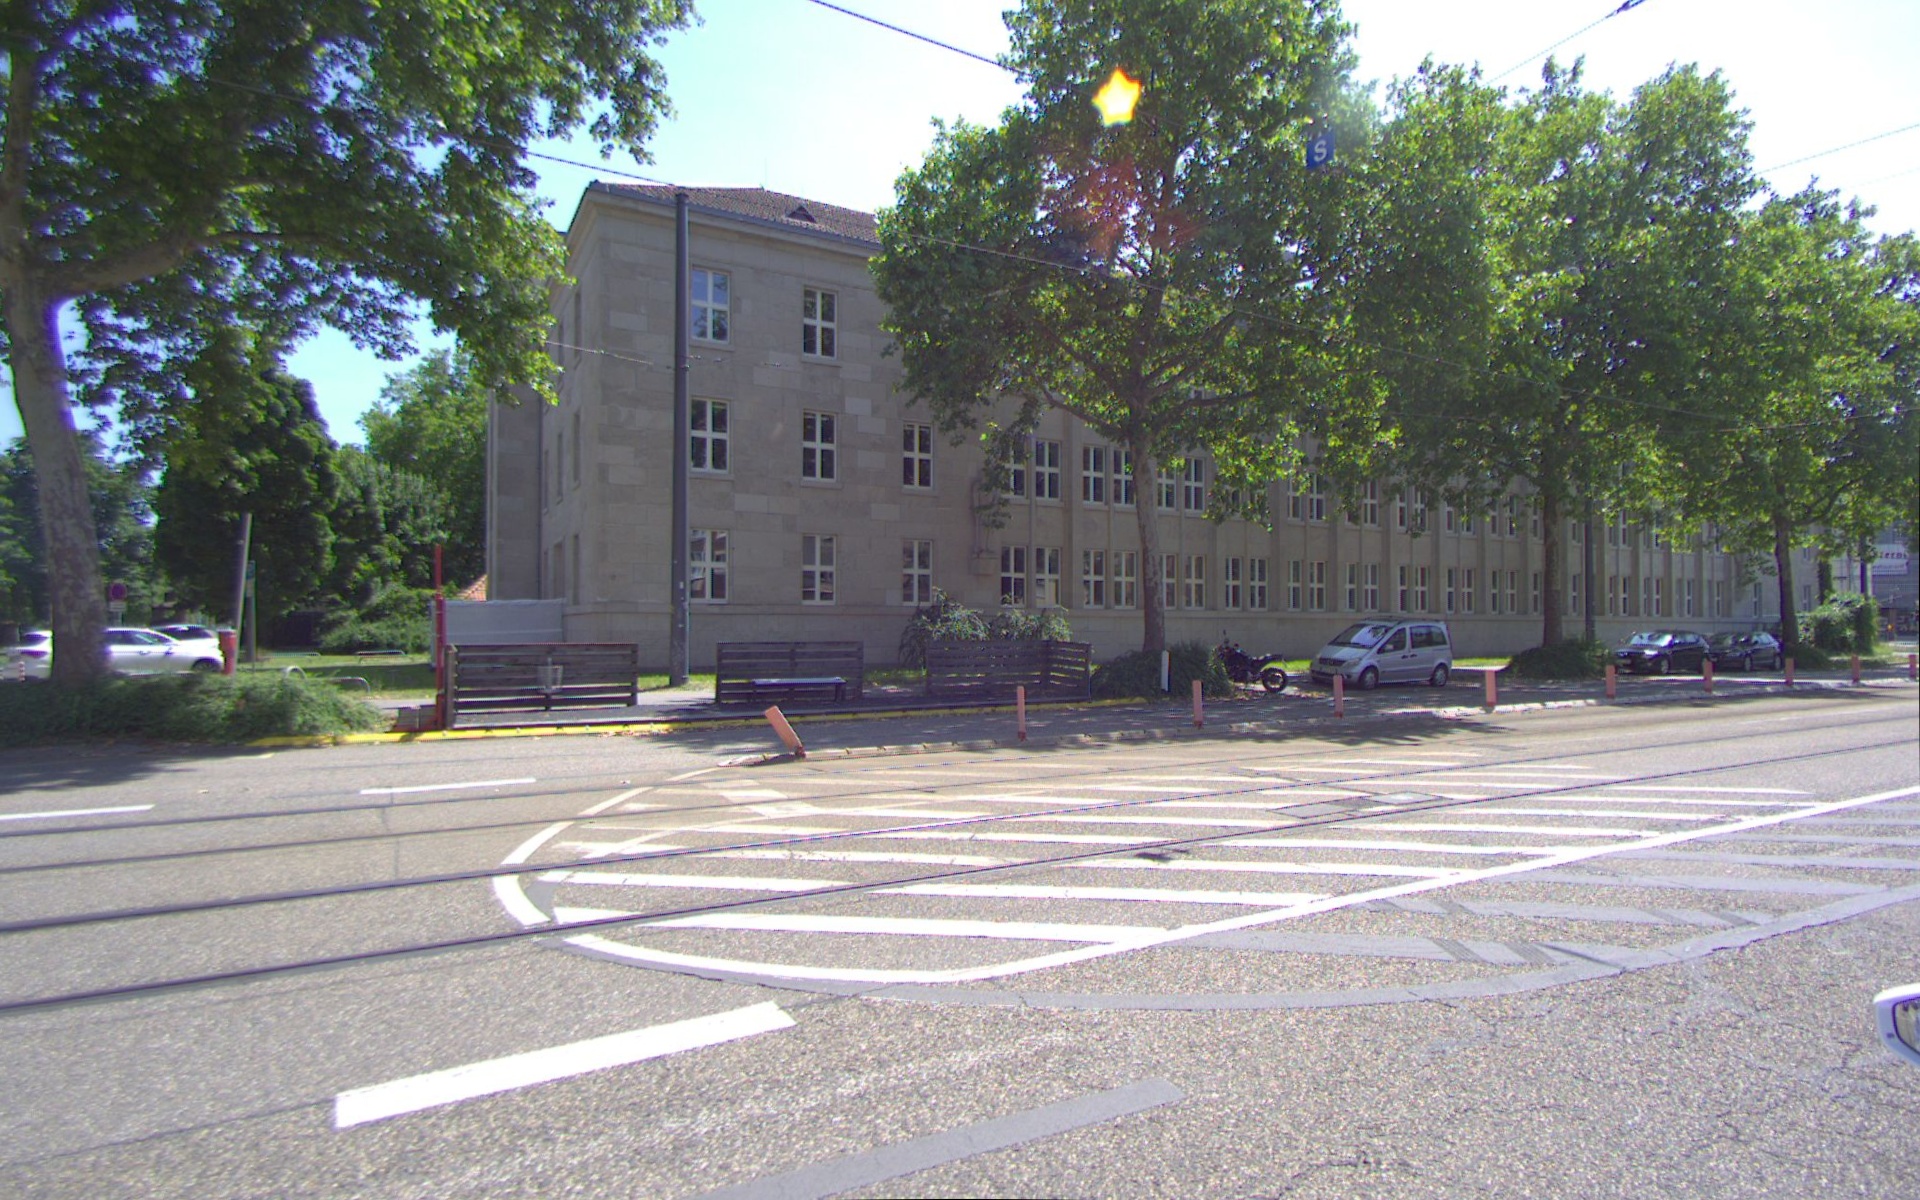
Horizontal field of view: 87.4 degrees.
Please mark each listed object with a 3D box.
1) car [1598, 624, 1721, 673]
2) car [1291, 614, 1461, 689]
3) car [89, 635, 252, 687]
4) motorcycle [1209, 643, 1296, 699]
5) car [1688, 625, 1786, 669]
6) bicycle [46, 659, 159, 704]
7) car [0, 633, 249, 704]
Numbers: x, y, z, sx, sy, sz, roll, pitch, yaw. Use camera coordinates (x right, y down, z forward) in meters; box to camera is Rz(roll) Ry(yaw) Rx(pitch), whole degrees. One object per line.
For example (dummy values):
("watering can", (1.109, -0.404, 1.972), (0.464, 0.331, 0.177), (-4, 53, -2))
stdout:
("car", (23.585, 1.601, 33.825), (4.271, 1.503, 1.755), (0, 0, -30))
("car", (11.132, 1.305, 26.847), (4.247, 1.835, 1.985), (0, 0, -28))
("car", (-24.203, 1.834, 30.931), (1.689, 1.395, 3.589), (0, 0, 28))
("motorcycle", (7.101, 1.701, 24.379), (1.838, 1.082, 0.726), (6, 3, 30))
("car", (28.408, 1.680, 36.703), (4.278, 1.443, 1.578), (0, 0, -34))
("bicycle", (-19.708, 1.859, 23.120), (0.634, 0.912, 1.899), (0, 0, 39))
("car", (-21.024, 1.651, 25.516), (1.879, 1.528, 4.531), (0, 0, 25))
